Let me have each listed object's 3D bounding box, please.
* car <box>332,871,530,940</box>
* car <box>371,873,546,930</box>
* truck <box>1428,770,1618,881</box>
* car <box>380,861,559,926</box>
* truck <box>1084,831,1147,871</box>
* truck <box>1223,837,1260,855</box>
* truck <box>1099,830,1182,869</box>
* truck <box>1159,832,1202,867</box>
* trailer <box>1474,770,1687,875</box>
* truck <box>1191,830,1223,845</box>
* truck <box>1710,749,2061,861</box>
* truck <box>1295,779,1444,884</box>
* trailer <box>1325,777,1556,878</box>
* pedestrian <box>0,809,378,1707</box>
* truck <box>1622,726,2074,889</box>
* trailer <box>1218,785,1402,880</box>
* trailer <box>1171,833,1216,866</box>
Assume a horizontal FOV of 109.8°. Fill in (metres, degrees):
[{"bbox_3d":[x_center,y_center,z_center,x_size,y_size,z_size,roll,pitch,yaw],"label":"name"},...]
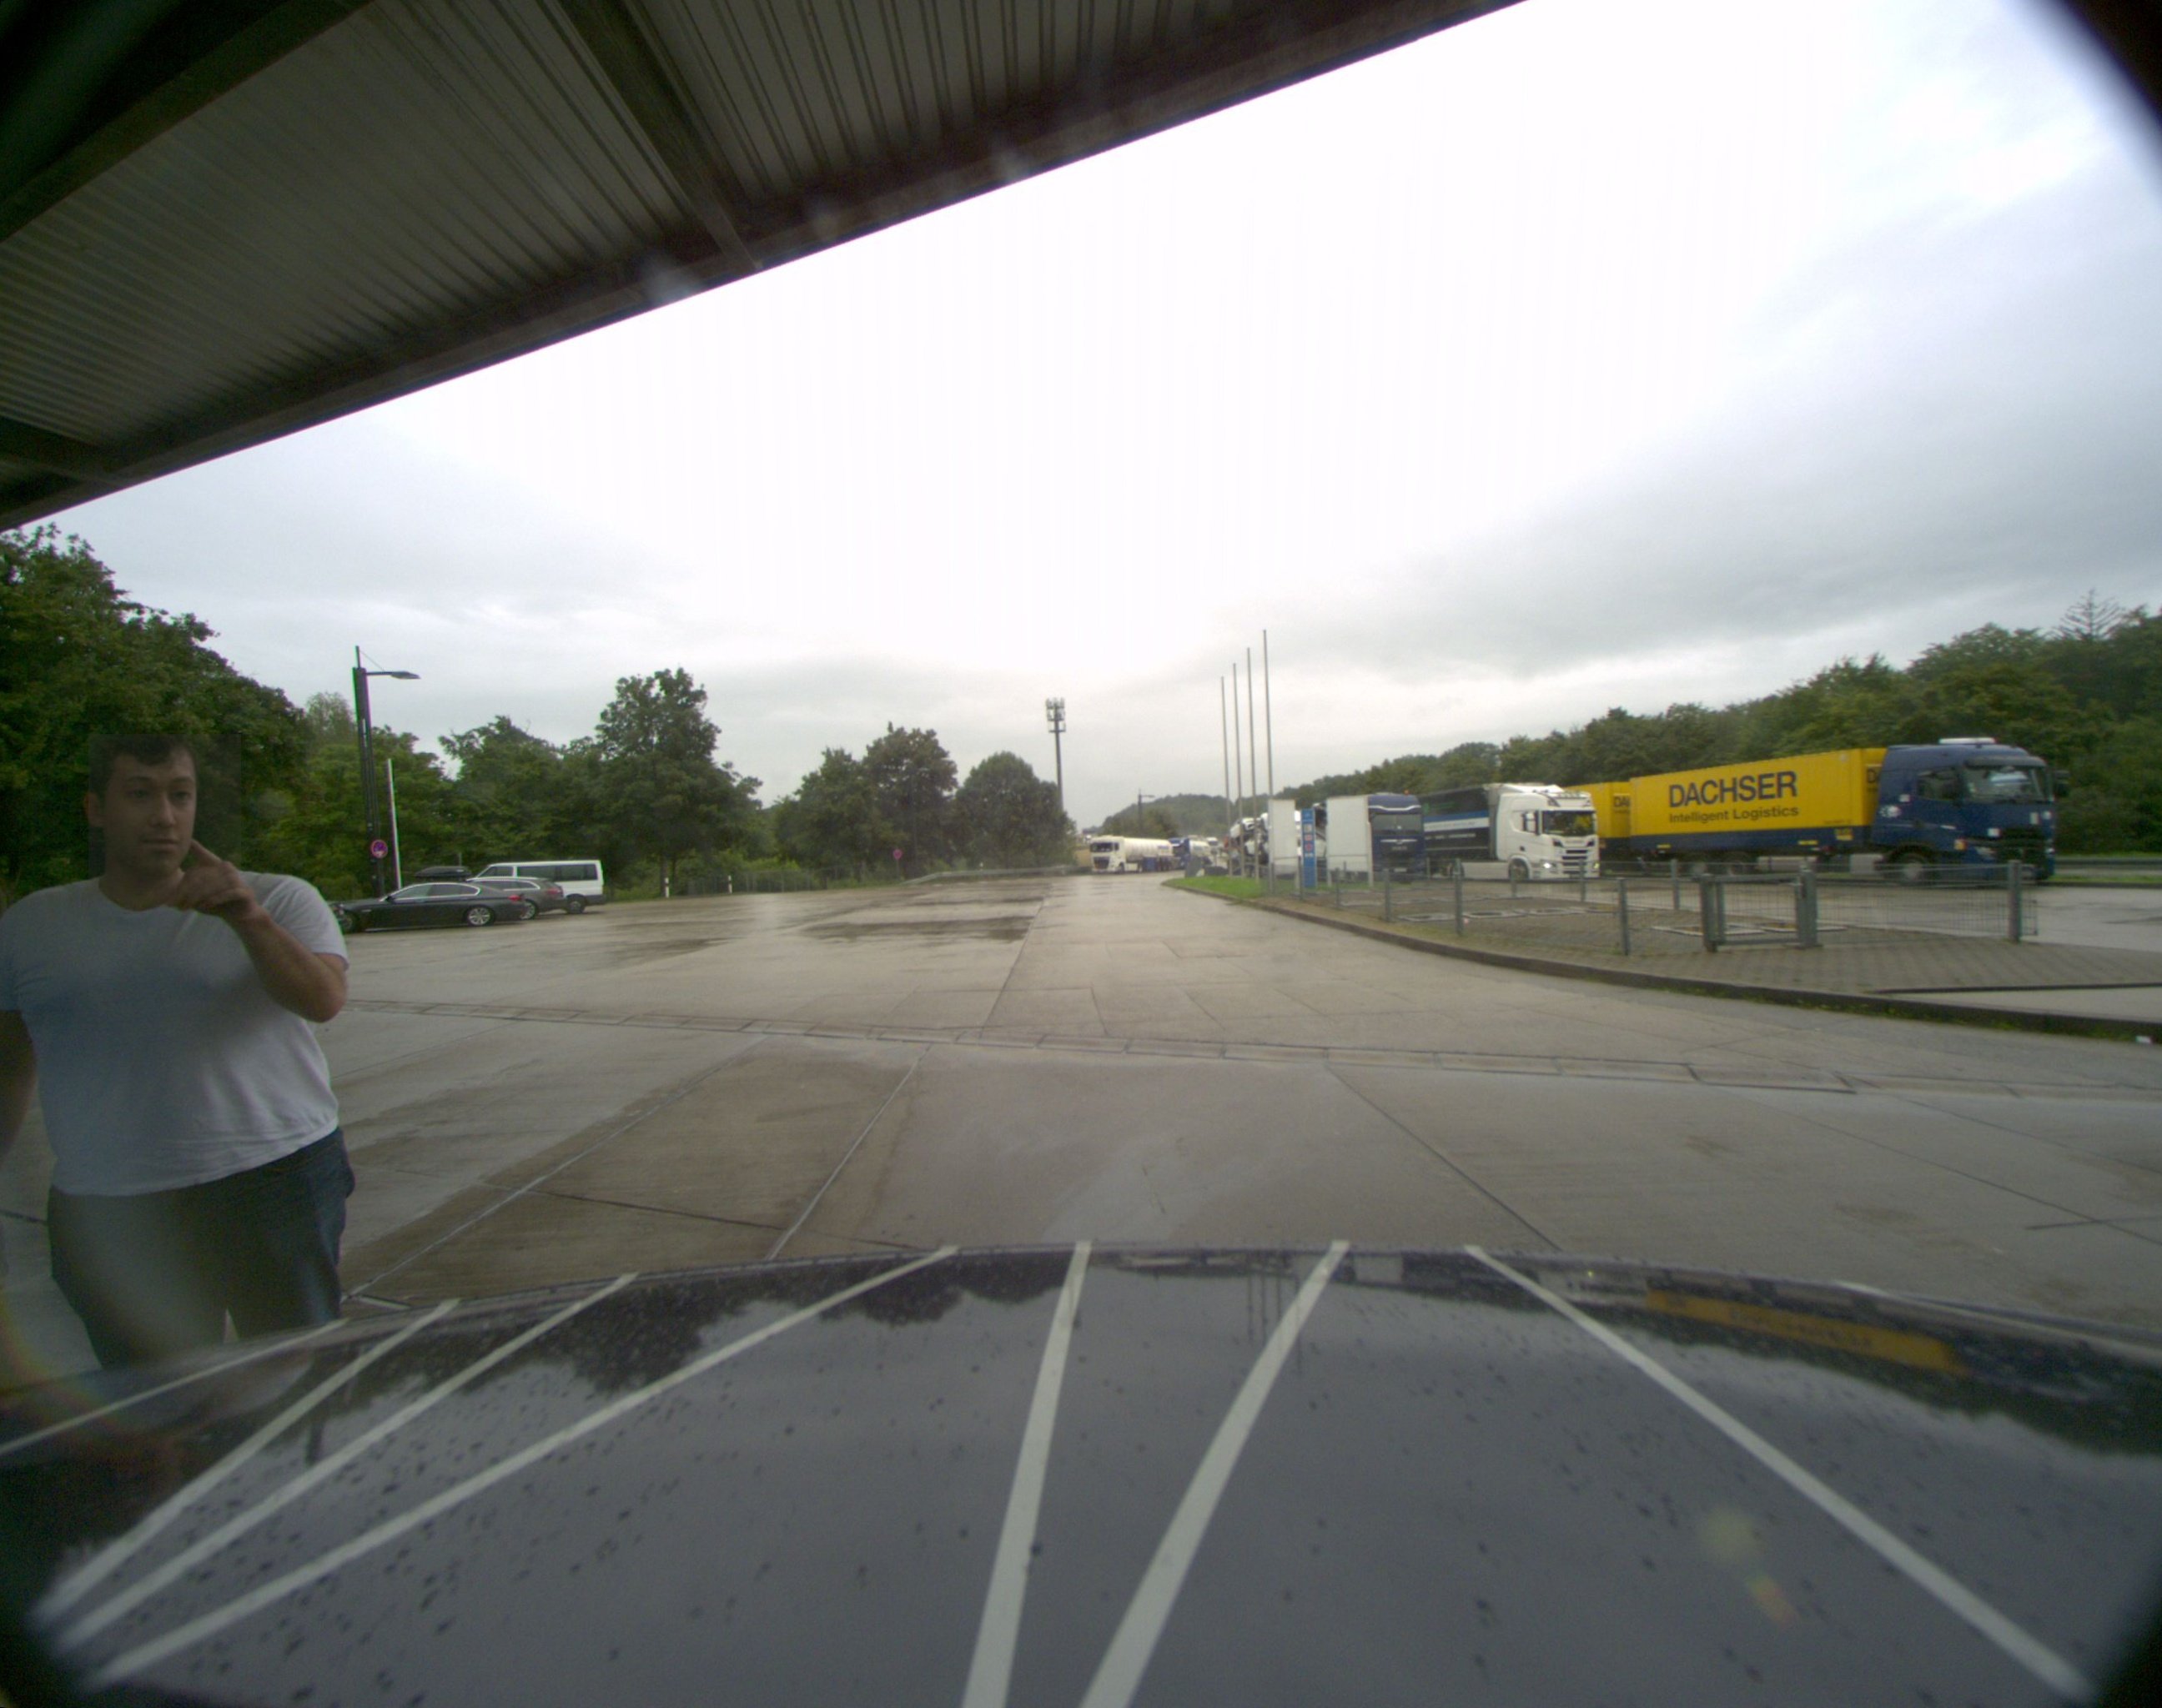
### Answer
[{"bbox_3d":[-19.125,1.449,22.647,4.187,1.720,1.995,-2,0,-33],"label":"car"},{"bbox_3d":[-20.206,1.470,24.936,4.187,1.547,1.995,-2,0,-33],"label":"car"},{"bbox_3d":[17.909,-1.094,31.422,2.992,4.009,6.734,-2,1,-12],"label":"truck"},{"bbox_3d":[-21.549,1.339,27.075,4.780,1.974,2.010,-2,0,-36],"label":"car"},{"bbox_3d":[3.313,-0.356,71.444,3.243,3.544,6.114,-2,1,31],"label":"truck"},{"bbox_3d":[34.874,-1.615,166.033,3.251,3.543,14.657,-2,0,-7],"label":"truck"},{"bbox_3d":[6.197,-0.522,76.355,3.243,3.544,11.995,-2,1,31],"label":"truck"},{"bbox_3d":[11.325,-0.524,85.740,3.045,3.745,6.475,-2,1,23],"label":"truck"},{"bbox_3d":[21.780,-1.272,33.997,2.774,4.009,8.853,-2,1,-8],"label":"trailer"},{"bbox_3d":[31.704,-4.063,191.817,3.251,3.543,16.548,-2,1,-7],"label":"truck"},{"bbox_3d":[33.770,-1.844,32.937,2.991,4.009,10.464,-2,1,-10],"label":"truck"},{"bbox_3d":[12.300,-0.921,33.253,2.990,4.009,7.259,-2,1,-7],"label":"truck"},{"bbox_3d":[16.896,-1.128,37.817,2.991,4.009,13.795,-2,1,-9],"label":"trailer"},{"bbox_3d":[-1.871,0.832,1.432,0.635,1.800,0.493,-4,3,-34],"label":"pedestrian"},{"bbox_3d":[23.058,-1.211,24.314,2.774,4.009,10.632,-2,1,-8],"label":"truck"},{"bbox_3d":[11.371,-0.998,40.945,2.990,4.009,16.597,-2,1,-7],"label":"trailer"},{"bbox_3d":[13.666,-0.651,91.447,2.898,3.618,10.586,-2,1,22],"label":"trailer"}]
